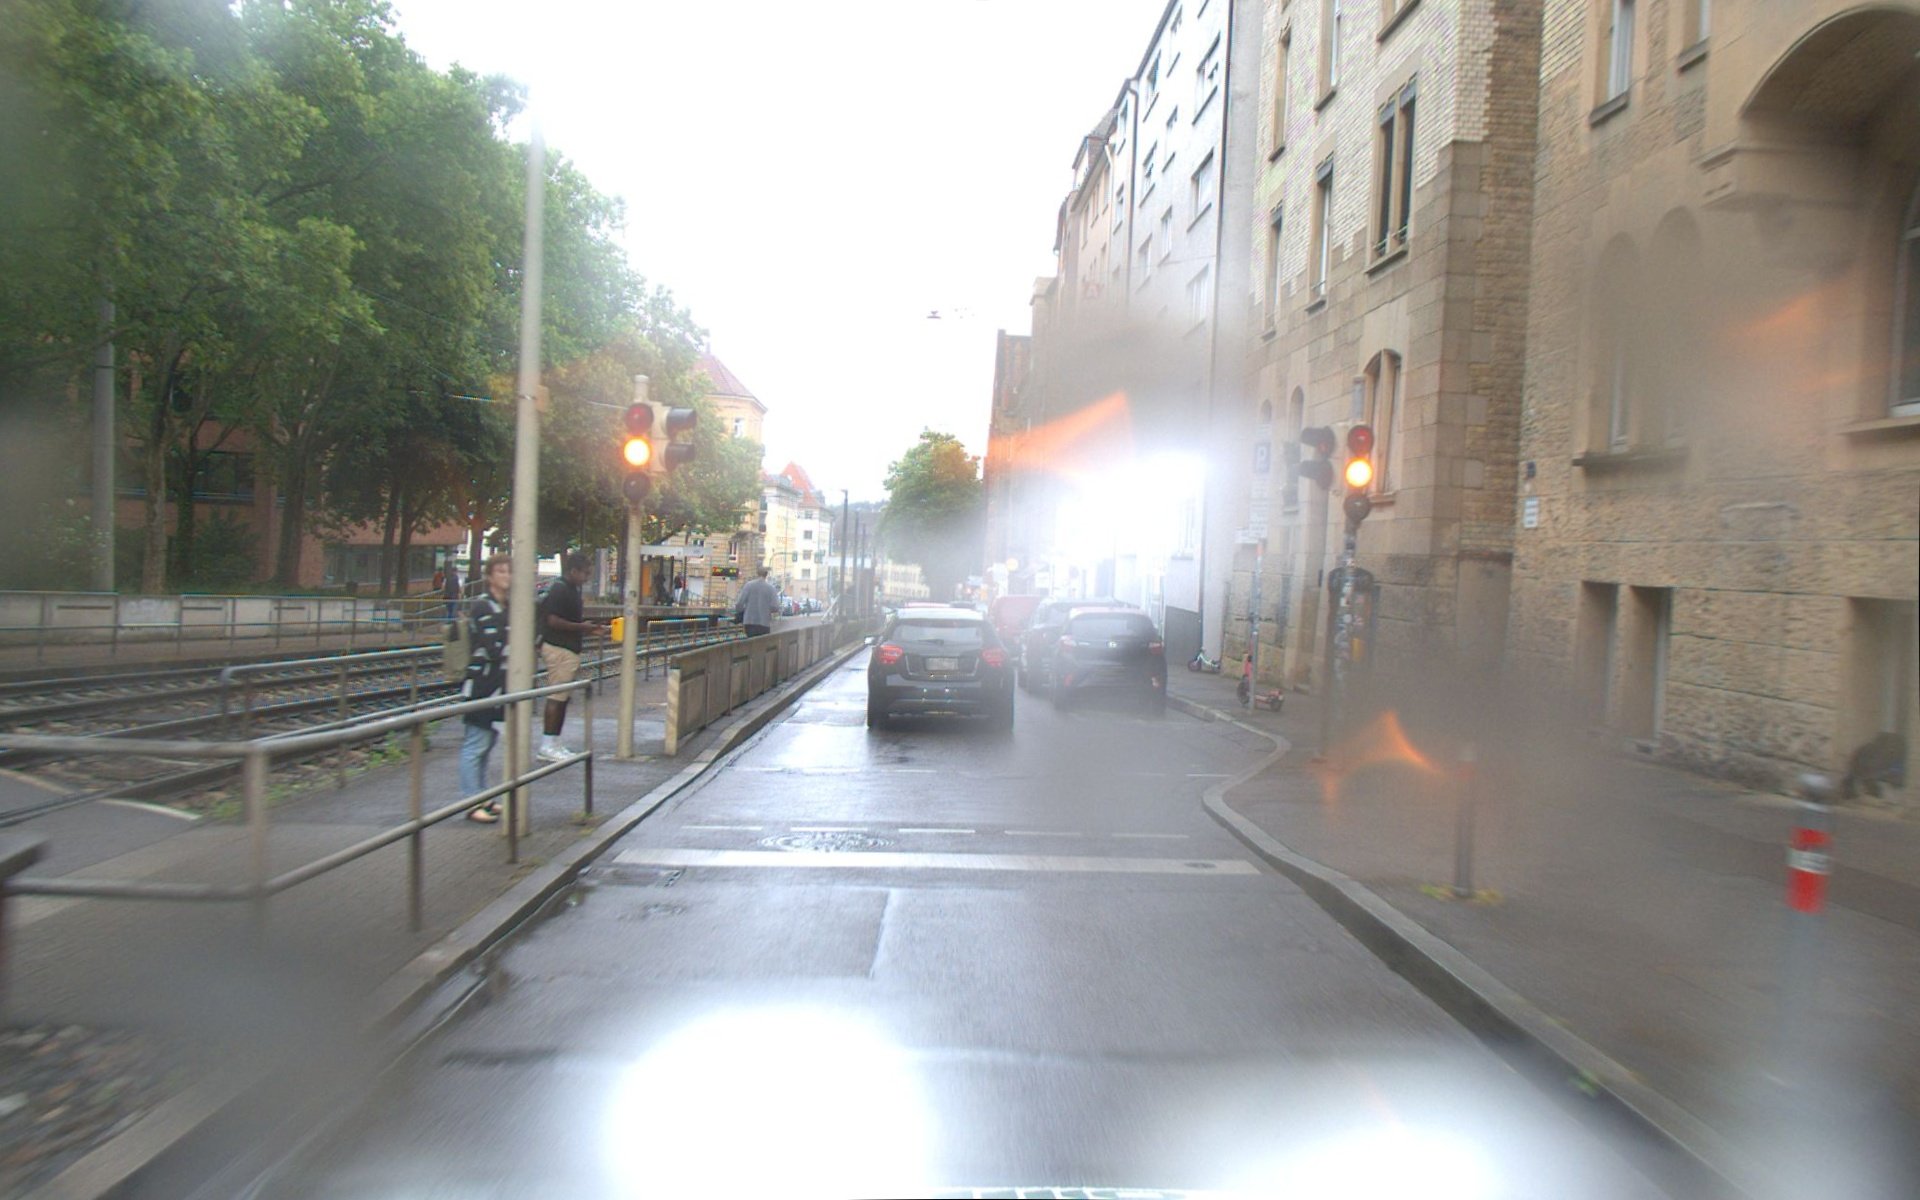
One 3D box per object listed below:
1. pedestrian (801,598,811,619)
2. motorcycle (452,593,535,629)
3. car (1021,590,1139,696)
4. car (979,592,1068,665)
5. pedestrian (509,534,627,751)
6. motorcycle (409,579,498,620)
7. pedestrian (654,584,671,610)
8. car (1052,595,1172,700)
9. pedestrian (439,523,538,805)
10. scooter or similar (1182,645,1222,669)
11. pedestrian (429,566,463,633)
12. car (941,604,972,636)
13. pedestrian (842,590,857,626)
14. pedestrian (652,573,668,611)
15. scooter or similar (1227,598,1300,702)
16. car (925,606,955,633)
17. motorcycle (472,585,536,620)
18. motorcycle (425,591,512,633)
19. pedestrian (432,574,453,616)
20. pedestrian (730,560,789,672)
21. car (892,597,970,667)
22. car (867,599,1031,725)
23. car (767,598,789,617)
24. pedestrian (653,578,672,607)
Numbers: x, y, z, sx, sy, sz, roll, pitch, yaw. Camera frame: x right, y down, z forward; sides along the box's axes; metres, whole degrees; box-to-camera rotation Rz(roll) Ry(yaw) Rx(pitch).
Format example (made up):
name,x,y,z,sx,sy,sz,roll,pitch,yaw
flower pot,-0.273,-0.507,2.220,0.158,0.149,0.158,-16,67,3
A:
name,x,y,z,sx,sy,sz,roll,pitch,yaw
pedestrian,-13.055,0.701,140.336,0.745,1.781,0.645,1,-1,0
motorcycle,-23.351,0.561,82.790,3.787,1.633,1.005,2,-1,-3
car,2.103,0.740,30.024,1.729,1.738,4.498,1,0,-1
car,1.684,0.799,45.871,1.936,1.870,5.241,1,-1,-3
pedestrian,-3.236,0.340,13.690,0.637,1.734,0.661,2,-1,21
motorcycle,-23.842,-0.010,77.874,3.787,1.805,1.005,2,-1,-3
pedestrian,-14.610,-0.138,81.175,0.689,1.262,0.564,2,-1,-4
car,2.271,0.725,25.465,1.627,1.478,3.610,1,-1,2
pedestrian,-2.874,0.382,10.105,0.423,1.667,0.481,2,0,-2
scooter or similar,5.364,1.267,36.715,0.842,0.515,0.257,0,-2,29
pedestrian,-13.280,-0.016,42.736,0.644,1.692,0.687,2,2,-2
car,-0.213,1.298,105.656,1.882,1.970,4.684,2,-1,-1
pedestrian,-5.111,0.359,76.471,0.485,1.633,0.637,1,-1,15
pedestrian,-14.140,-0.386,77.933,0.551,1.745,0.705,2,-1,-3
scooter or similar,4.147,0.663,22.681,0.360,1.338,1.562,0,1,-14
car,-1.501,1.422,121.038,1.895,1.863,4.277,2,-1,-4
motorcycle,-23.689,0.137,85.927,2.997,1.656,1.005,2,-1,-3
motorcycle,-23.584,0.597,79.414,3.787,1.848,1.005,2,-1,-3
pedestrian,-25.458,-0.233,81.431,0.718,2.049,0.980,2,-1,-4
pedestrian,-3.362,0.272,27.811,0.842,1.831,0.787,2,-1,-2
car,-0.721,0.737,38.543,1.646,1.515,3.610,1,-1,-4
car,-0.155,0.708,20.852,1.856,1.414,3.999,1,0,-1
car,-18.728,0.828,170.538,1.953,1.892,3.998,0,-1,-1
pedestrian,-14.501,-0.358,80.577,0.762,1.386,0.563,2,-1,-4
